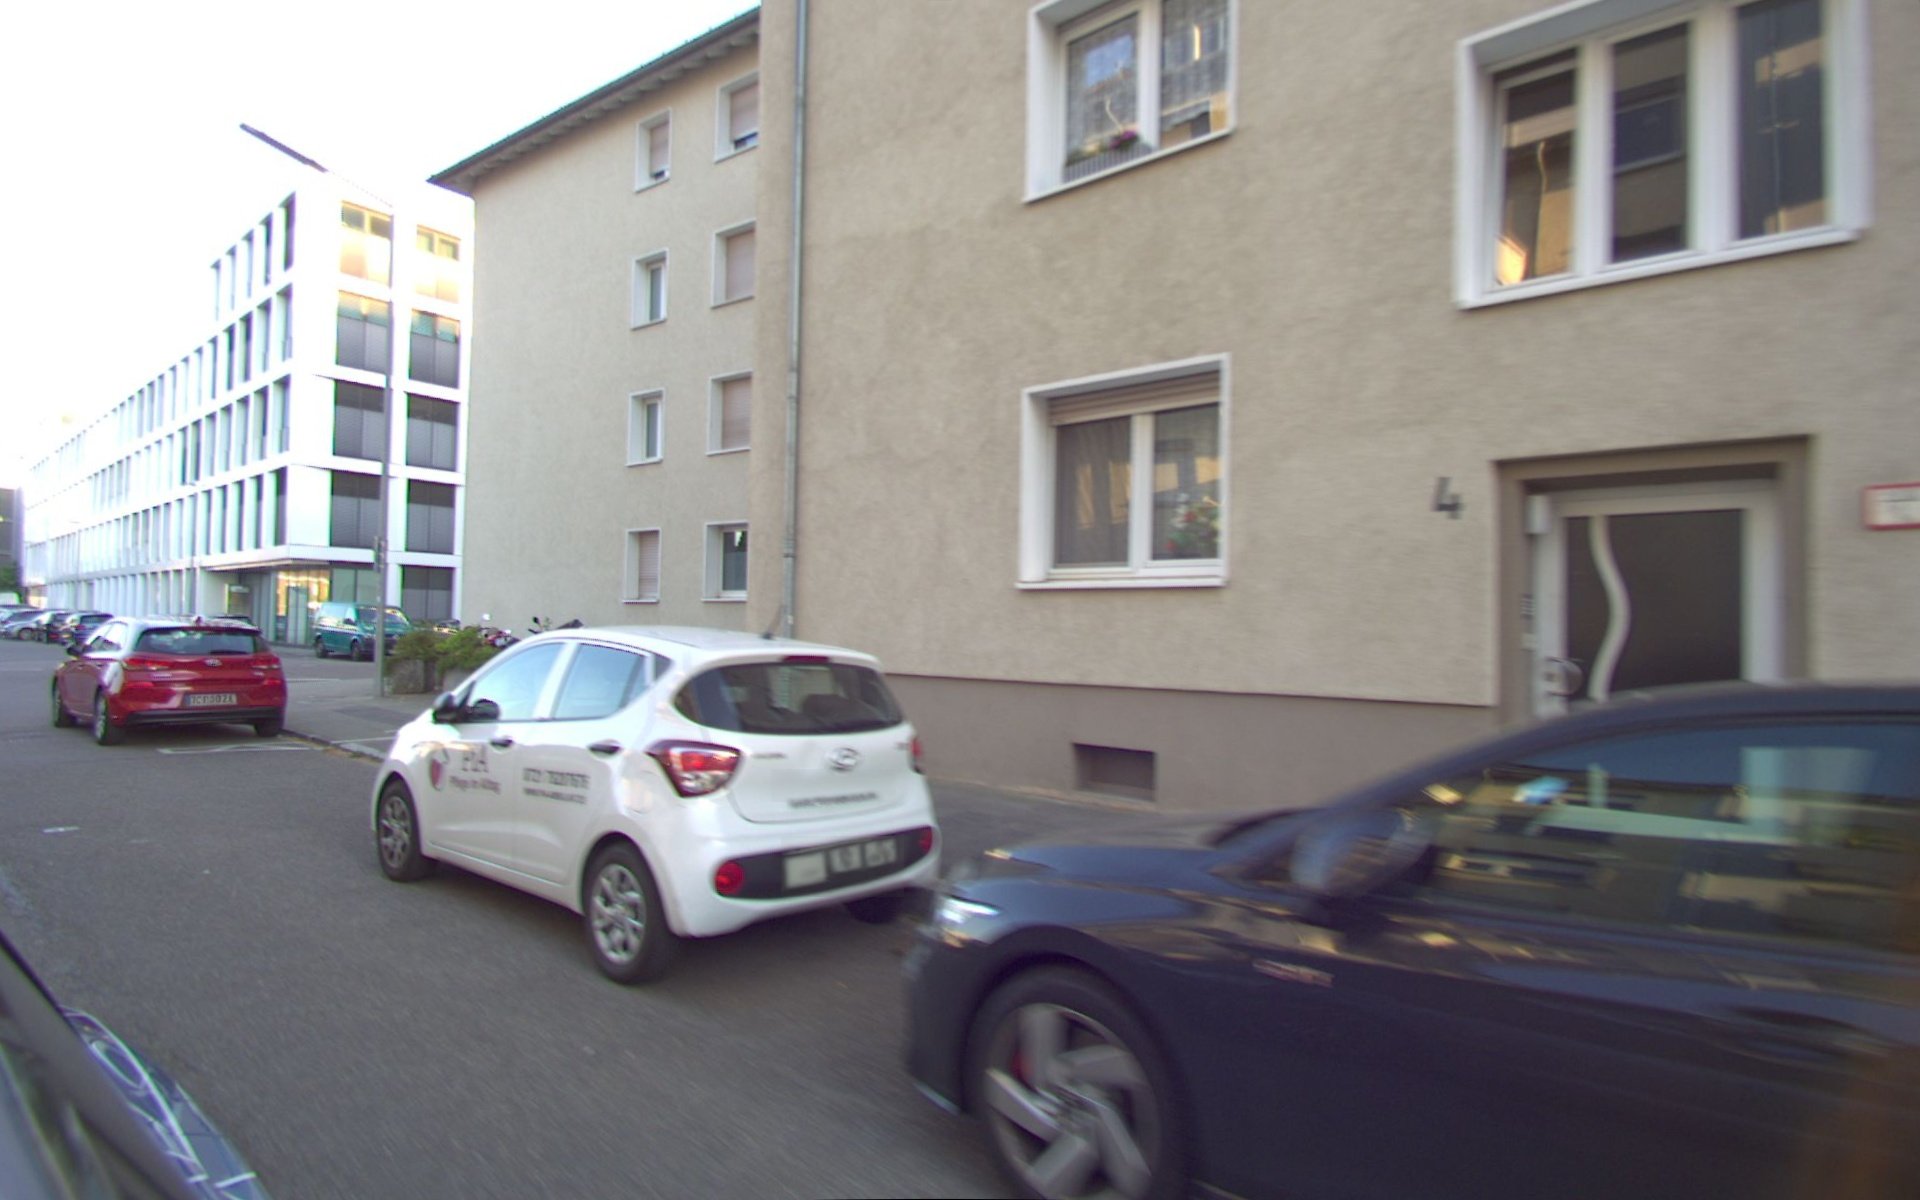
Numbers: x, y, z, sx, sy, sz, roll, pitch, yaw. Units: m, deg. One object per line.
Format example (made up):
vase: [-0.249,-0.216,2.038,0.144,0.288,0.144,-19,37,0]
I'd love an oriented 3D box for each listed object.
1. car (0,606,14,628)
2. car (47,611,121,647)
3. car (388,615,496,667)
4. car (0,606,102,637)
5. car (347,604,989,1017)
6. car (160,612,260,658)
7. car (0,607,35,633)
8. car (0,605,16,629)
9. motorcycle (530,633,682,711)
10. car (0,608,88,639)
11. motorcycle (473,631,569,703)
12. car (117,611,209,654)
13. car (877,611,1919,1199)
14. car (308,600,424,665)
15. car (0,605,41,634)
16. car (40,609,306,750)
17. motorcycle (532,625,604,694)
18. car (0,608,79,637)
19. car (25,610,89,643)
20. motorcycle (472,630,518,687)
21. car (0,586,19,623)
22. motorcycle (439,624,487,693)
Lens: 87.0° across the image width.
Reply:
car: [-66.238,1.128,67.624,1.794,1.507,4.263,-1,-2,41]
car: [-38.518,1.243,44.494,4.178,1.449,1.633,0,1,37]
car: [-18.611,1.432,36.292,4.326,1.561,1.762,3,0,38]
car: [-46.026,1.096,51.114,1.687,1.523,3.885,-1,-2,41]
car: [-1.730,0.823,5.466,3.502,1.484,1.599,0,-4,40]
car: [-26.298,1.174,35.437,4.325,1.490,1.762,0,-1,38]
car: [-56.036,1.140,58.525,1.696,1.523,3.626,-1,-2,43]
car: [-62.563,1.078,64.133,1.691,1.534,3.745,-1,-2,38]
motorcycle: [-5.371,1.084,15.447,2.096,1.114,0.561,2,-2,-37]
car: [-48.080,1.219,52.832,1.686,1.523,3.617,-1,-2,40]
motorcycle: [-7.286,1.077,16.758,2.034,1.087,0.674,0,-2,43]
car: [-30.680,1.207,38.931,4.176,1.490,1.695,0,1,36]
car: [1.859,0.811,2.141,4.028,1.445,1.642,0,-4,40]
car: [-20.318,1.065,34.557,4.683,1.995,1.780,1,-1,38]
car: [-57.927,1.147,60.286,2.005,1.719,4.567,-1,-2,43]
car: [-10.087,0.898,12.871,4.075,1.484,1.826,0,-2,40]
motorcycle: [-7.793,1.149,20.066,0.714,1.274,2.085,2,-2,-38]
car: [-49.806,1.200,54.307,1.686,1.523,3.617,-1,-2,40]
car: [-43.213,1.224,48.394,4.198,1.449,1.632,0,1,39]
motorcycle: [-9.750,1.200,21.181,0.713,1.087,2.087,2,-2,-28]
car: [-71.436,0.309,72.764,2.077,2.653,5.325,-1,-2,41]
motorcycle: [-9.004,1.033,18.399,0.679,1.169,2.041,2,-2,-24]
